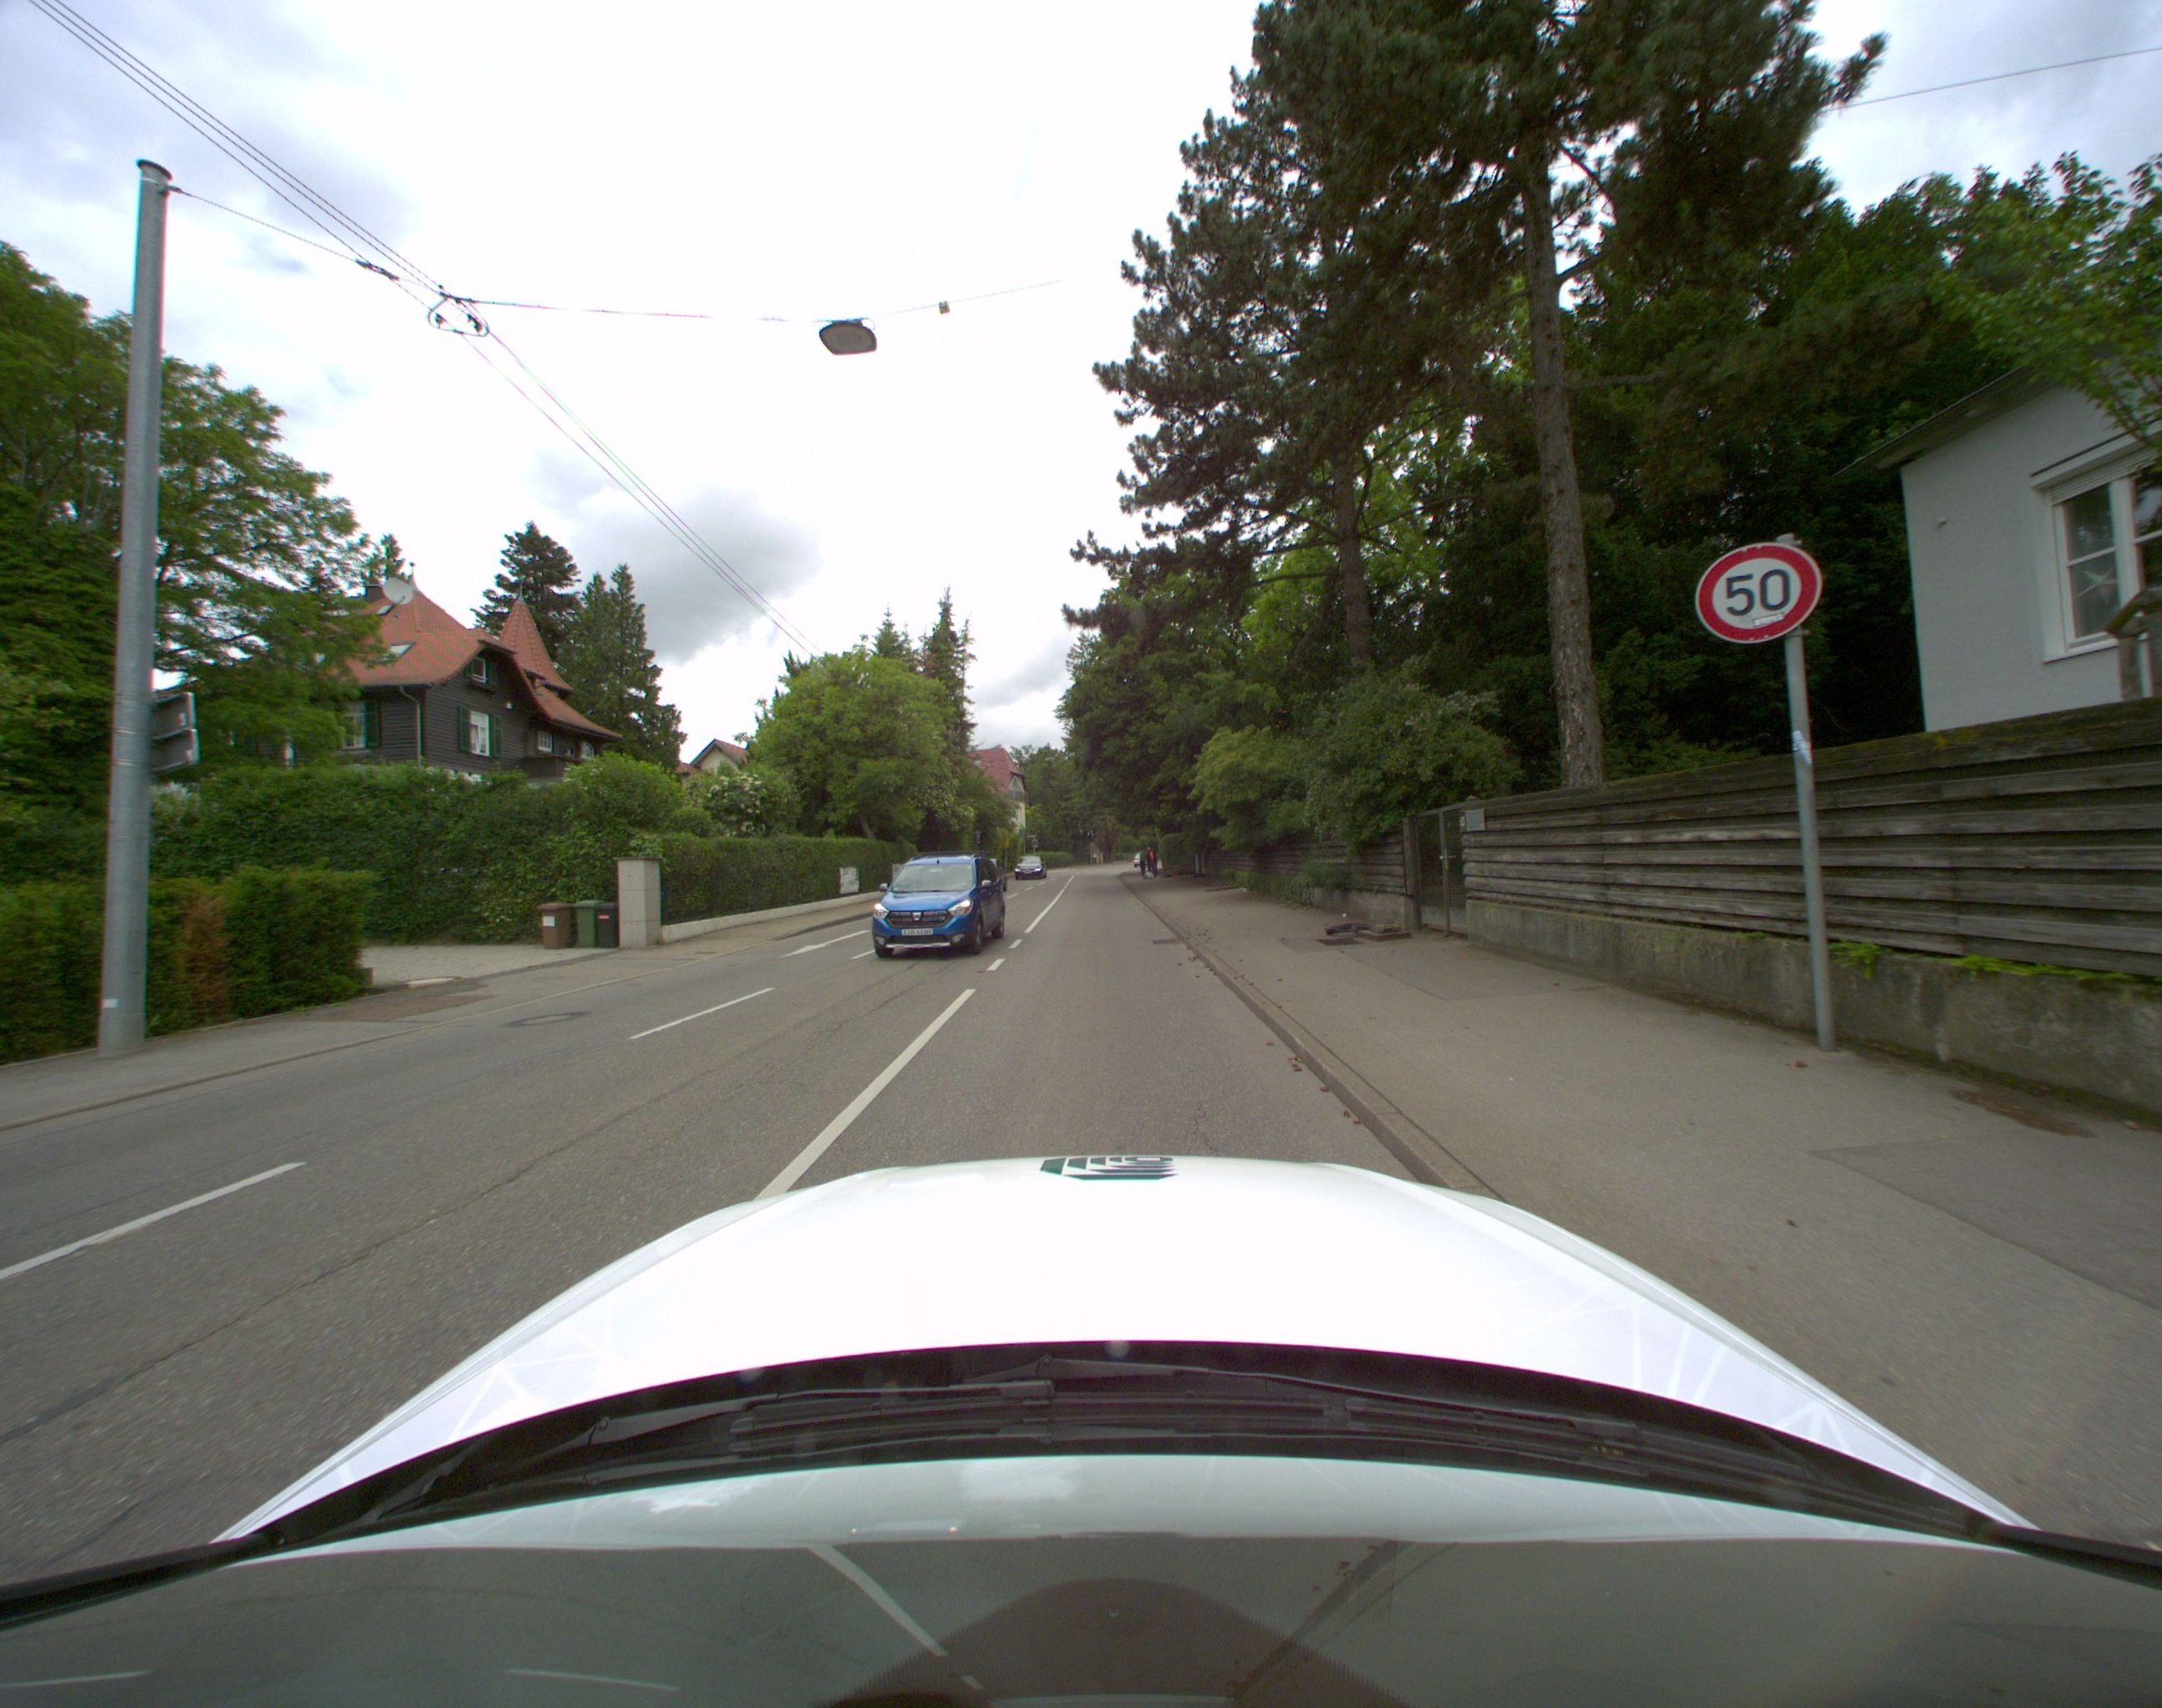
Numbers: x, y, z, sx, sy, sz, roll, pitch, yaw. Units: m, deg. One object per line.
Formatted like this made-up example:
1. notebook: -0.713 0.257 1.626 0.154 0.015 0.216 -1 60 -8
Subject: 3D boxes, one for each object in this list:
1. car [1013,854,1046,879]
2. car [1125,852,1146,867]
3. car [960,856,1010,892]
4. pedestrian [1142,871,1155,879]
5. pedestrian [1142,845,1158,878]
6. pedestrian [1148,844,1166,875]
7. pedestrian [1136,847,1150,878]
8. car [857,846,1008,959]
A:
1. car: -3.282 0.771 52.575 1.674 1.471 4.020 -2 0 3
2. car: 5.453 0.552 81.414 1.787 1.415 4.345 -2 -1 8
3. car: -4.319 0.895 37.151 1.678 1.519 3.538 -1 0 2
4. pedestrian: 3.719 1.164 44.880 0.670 0.393 0.741 -2 0 0
5. pedestrian: 3.907 0.435 46.216 0.804 1.807 0.741 -2 0 0
6. pedestrian: 4.497 0.344 48.256 0.694 1.807 0.665 -2 -1 -40
7. pedestrian: 3.650 0.504 48.035 0.594 1.807 0.522 -3 -1 41
8. car: -2.505 0.764 14.839 1.799 1.717 4.380 -1 0 1
